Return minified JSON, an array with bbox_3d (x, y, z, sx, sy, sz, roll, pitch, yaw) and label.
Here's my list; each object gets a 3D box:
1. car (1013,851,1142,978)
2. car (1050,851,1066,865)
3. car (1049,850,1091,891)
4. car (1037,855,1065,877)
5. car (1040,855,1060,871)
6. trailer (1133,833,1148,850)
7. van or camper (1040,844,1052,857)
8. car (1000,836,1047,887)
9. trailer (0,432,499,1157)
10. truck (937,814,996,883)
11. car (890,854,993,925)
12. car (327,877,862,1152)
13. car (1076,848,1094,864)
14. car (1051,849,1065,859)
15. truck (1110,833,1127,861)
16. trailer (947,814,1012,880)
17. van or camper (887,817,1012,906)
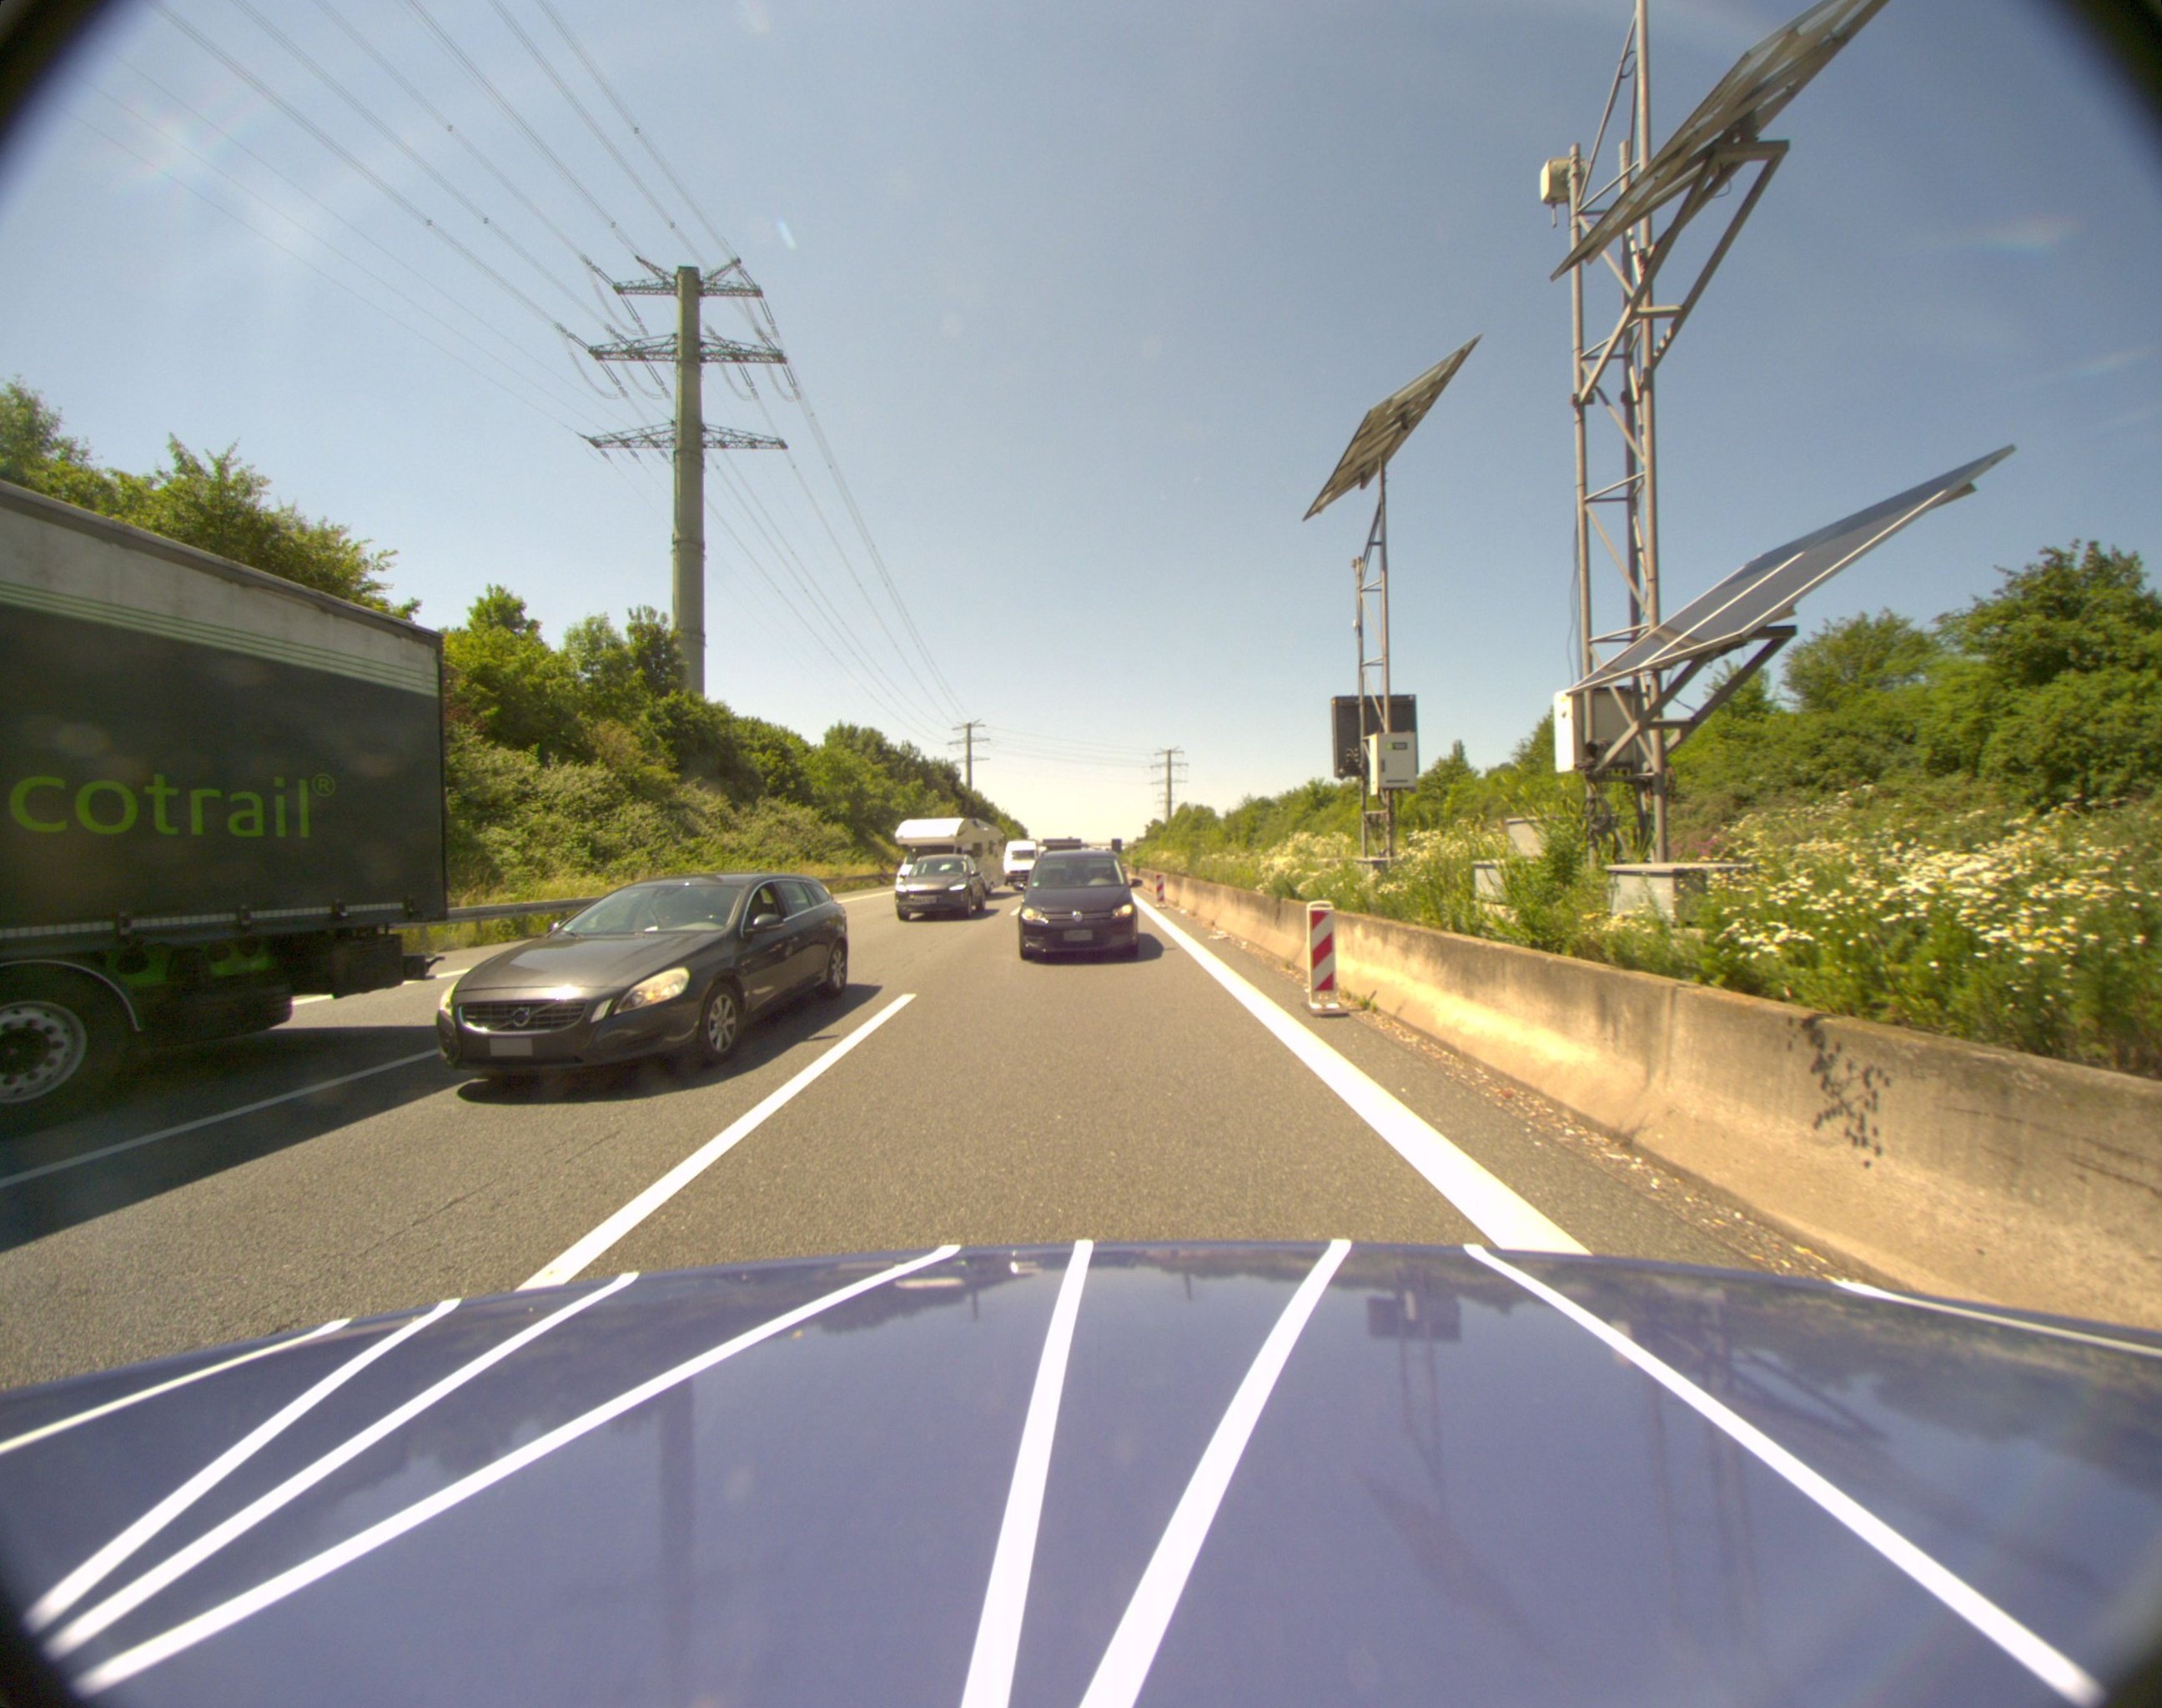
[{"bbox_3d":[-0.015,0.816,12.460,1.700,1.641,4.219,-2,1,1],"label":"car"},{"bbox_3d":[-2.848,0.476,94.300,1.720,1.510,3.874,-2,1,1],"label":"car"},{"bbox_3d":[-0.424,0.693,33.940,1.700,1.641,4.219,-2,1,1],"label":"car"},{"bbox_3d":[-2.157,0.853,55.740,1.720,1.510,3.874,-2,1,1],"label":"car"},{"bbox_3d":[-3.147,0.889,77.819,1.720,1.510,3.874,-2,1,1],"label":"car"},{"bbox_3d":[15.920,-3.436,205.206,2.967,4.378,12.904,-2,1,1],"label":"trailer"},{"bbox_3d":[-6.915,-0.709,151.496,1.978,2.511,4.369,-2,1,1],"label":"van or camper"},{"bbox_3d":[-3.269,0.357,44.378,2.042,2.703,6.705,-2,1,1],"label":"car"},{"bbox_3d":[-7.418,-0.268,1.051,2.790,4.024,13.110,-2,1,1],"label":"trailer"},{"bbox_3d":[-7.402,-0.365,49.899,2.792,4.121,5.636,-2,1,1],"label":"truck"},{"bbox_3d":[-3.641,0.875,20.611,1.893,1.602,4.219,-2,1,1],"label":"car"},{"bbox_3d":[-3.587,1.042,6.841,1.799,1.411,4.509,-2,1,1],"label":"car"},{"bbox_3d":[0.527,0.221,88.892,1.973,1.682,3.874,-2,1,1],"label":"car"},{"bbox_3d":[-3.465,-0.033,115.109,1.720,1.510,3.874,-2,1,1],"label":"car"},{"bbox_3d":[4.610,-0.844,93.903,1.892,3.264,5.590,-2,1,1],"label":"truck"},{"bbox_3d":[-7.300,-0.521,56.809,2.774,4.239,12.877,-2,1,1],"label":"trailer"},{"bbox_3d":[-4.945,0.215,30.282,2.373,3.026,7.637,-2,1,10],"label":"van or camper"}]
